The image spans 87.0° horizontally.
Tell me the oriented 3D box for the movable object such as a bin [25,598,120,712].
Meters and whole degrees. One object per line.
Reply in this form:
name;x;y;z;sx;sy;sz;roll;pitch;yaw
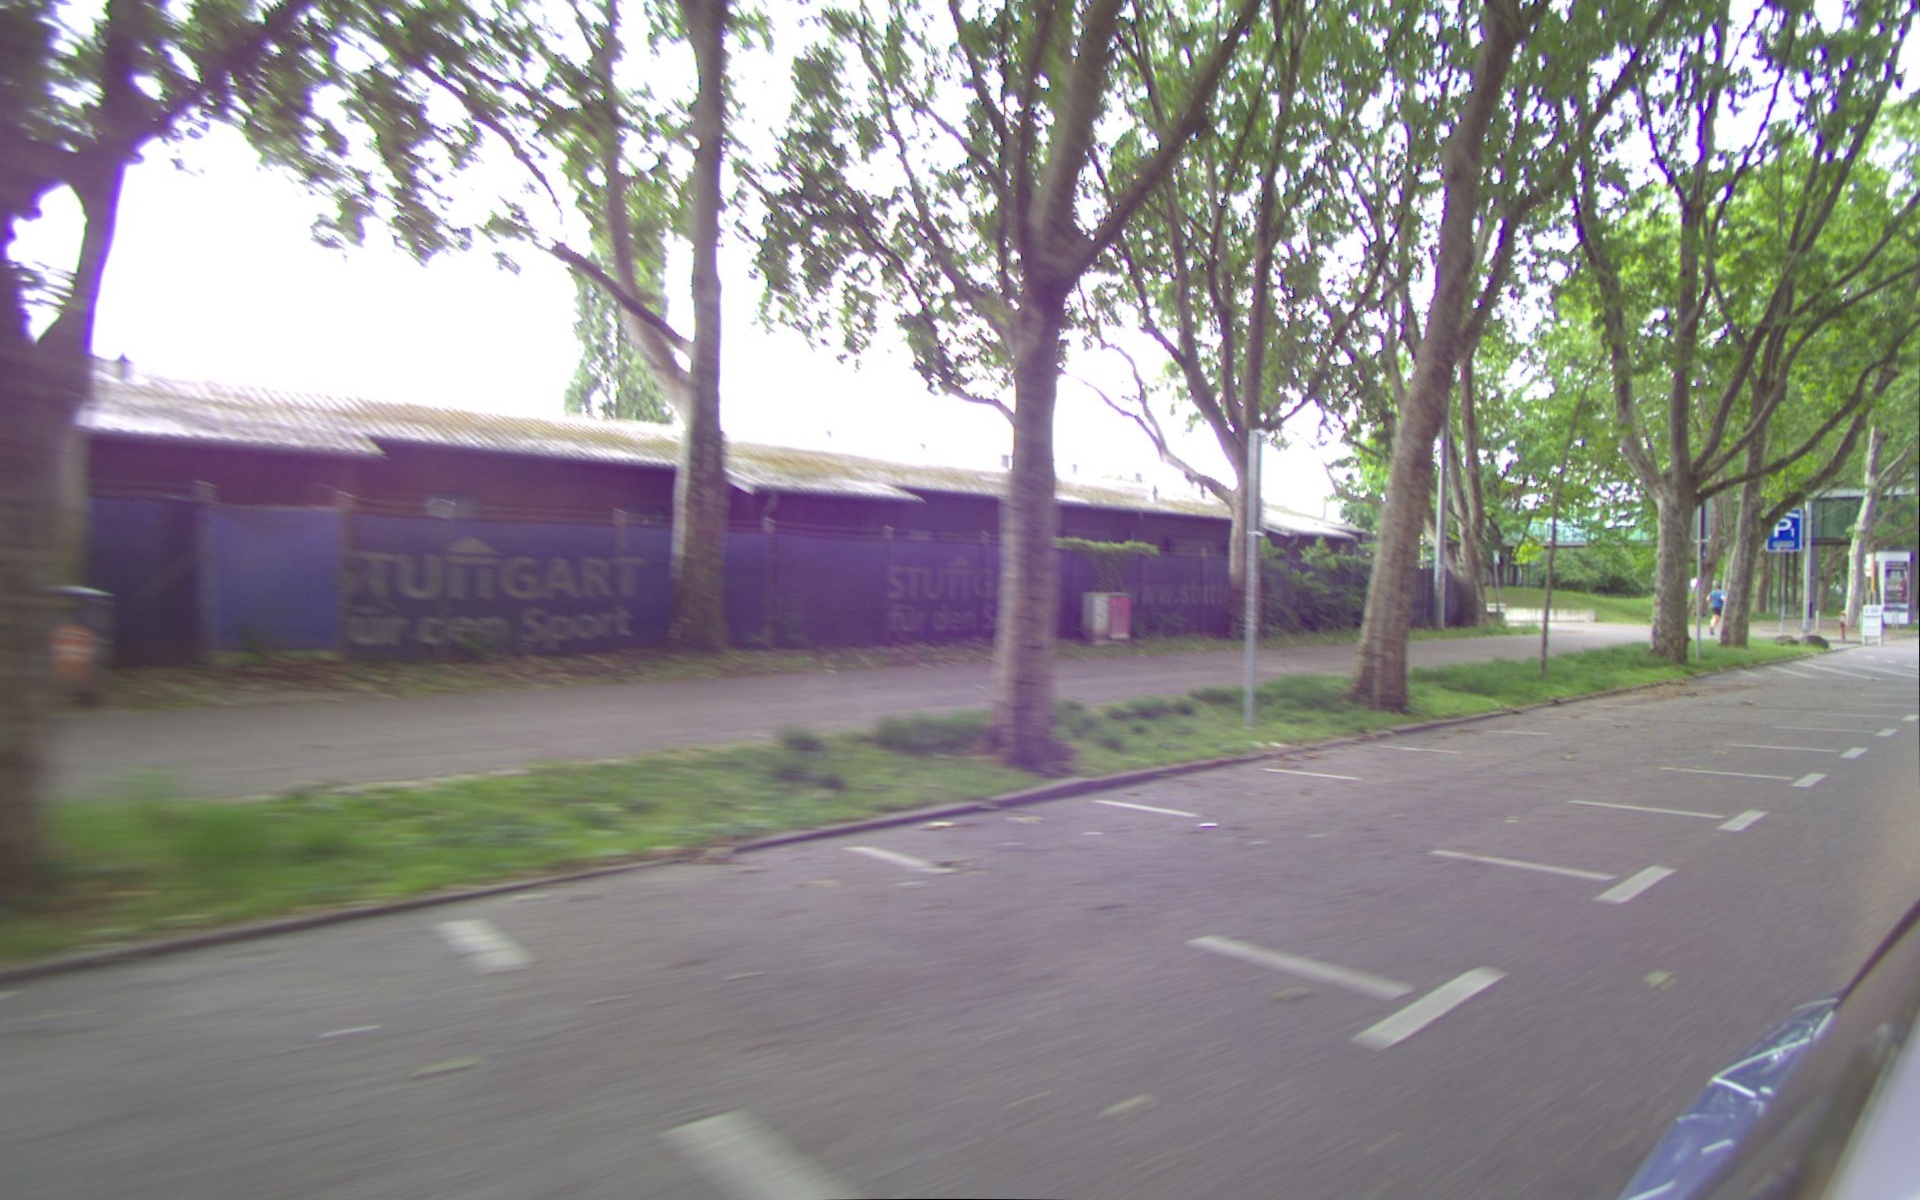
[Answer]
movable object such as a bin;-8.422;0.501;9.616;0.663;0.970;0.569;0;6;-42

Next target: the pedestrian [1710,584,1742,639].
pedestrian;28.915;0.408;38.198;0.864;2.039;0.712;0;0;-32
